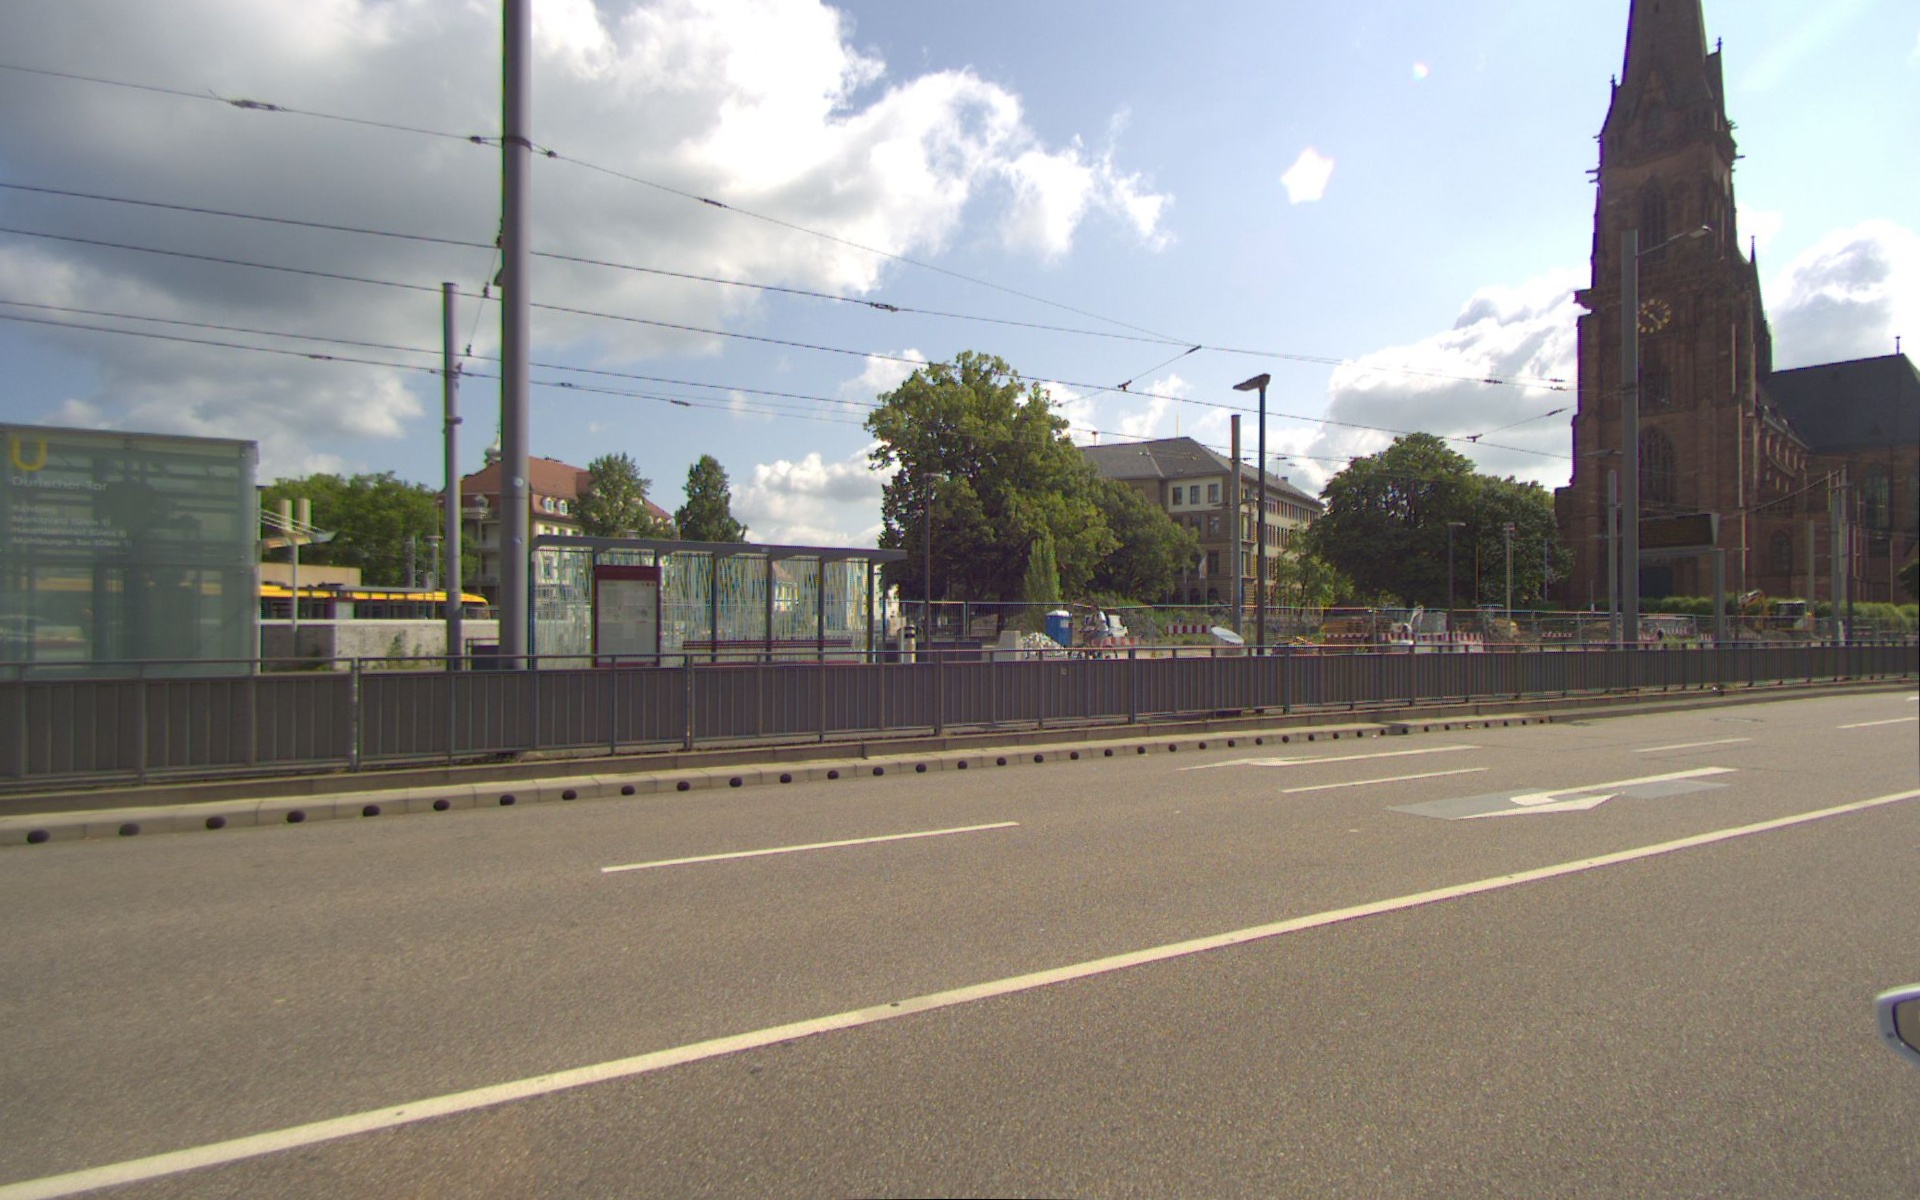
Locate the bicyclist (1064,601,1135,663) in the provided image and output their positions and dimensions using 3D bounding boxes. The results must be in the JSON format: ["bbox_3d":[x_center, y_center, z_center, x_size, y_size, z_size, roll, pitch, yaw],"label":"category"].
[{"bbox_3d":[3.978,0.911,28.723,1.665,1.706,1.171,1,-1,-32],"label":"bicyclist"}]

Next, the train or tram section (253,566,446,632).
[{"bbox_3d":[-36.253,-0.063,60.369,3.257,3.527,10.613,-2,0,14],"label":"train or tram section"}]

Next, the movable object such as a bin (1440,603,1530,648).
[{"bbox_3d":[35.595,1.730,68.254,1.981,2.950,5.102,1,-2,-36],"label":"movable object such as a bin"}]

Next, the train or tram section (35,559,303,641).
[{"bbox_3d":[-38.688,-0.007,49.916,3.257,3.527,10.613,-2,0,14],"label":"train or tram section"}]

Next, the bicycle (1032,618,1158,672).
[{"bbox_3d":[3.878,1.264,28.660,3.652,1.445,1.187,1,-2,-32],"label":"bicycle"}]

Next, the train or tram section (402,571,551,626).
[{"bbox_3d":[-33.585,-0.117,70.500,3.257,3.527,10.613,-2,0,14],"label":"train or tram section"}]

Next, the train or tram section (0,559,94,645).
[{"bbox_3d":[-41.252,0.138,39.720,3.257,3.527,10.613,-2,0,14],"label":"train or tram section"}]

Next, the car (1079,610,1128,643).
[{"bbox_3d":[10.059,1.805,70.198,1.906,2.166,4.637,-1,0,28],"label":"car"}]

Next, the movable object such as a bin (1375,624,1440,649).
[{"bbox_3d":[28.482,2.291,63.870,5.118,1.522,1.975,2,-2,-43],"label":"movable object such as a bin"}]

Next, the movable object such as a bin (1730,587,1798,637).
[{"bbox_3d":[53.098,0.751,66.350,3.947,3.147,1.987,-2,0,-26],"label":"movable object such as a bin"}]

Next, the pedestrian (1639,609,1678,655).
[{"bbox_3d":[31.571,1.434,45.430,1.037,2.040,1.062,1,-2,-26],"label":"pedestrian"}]
